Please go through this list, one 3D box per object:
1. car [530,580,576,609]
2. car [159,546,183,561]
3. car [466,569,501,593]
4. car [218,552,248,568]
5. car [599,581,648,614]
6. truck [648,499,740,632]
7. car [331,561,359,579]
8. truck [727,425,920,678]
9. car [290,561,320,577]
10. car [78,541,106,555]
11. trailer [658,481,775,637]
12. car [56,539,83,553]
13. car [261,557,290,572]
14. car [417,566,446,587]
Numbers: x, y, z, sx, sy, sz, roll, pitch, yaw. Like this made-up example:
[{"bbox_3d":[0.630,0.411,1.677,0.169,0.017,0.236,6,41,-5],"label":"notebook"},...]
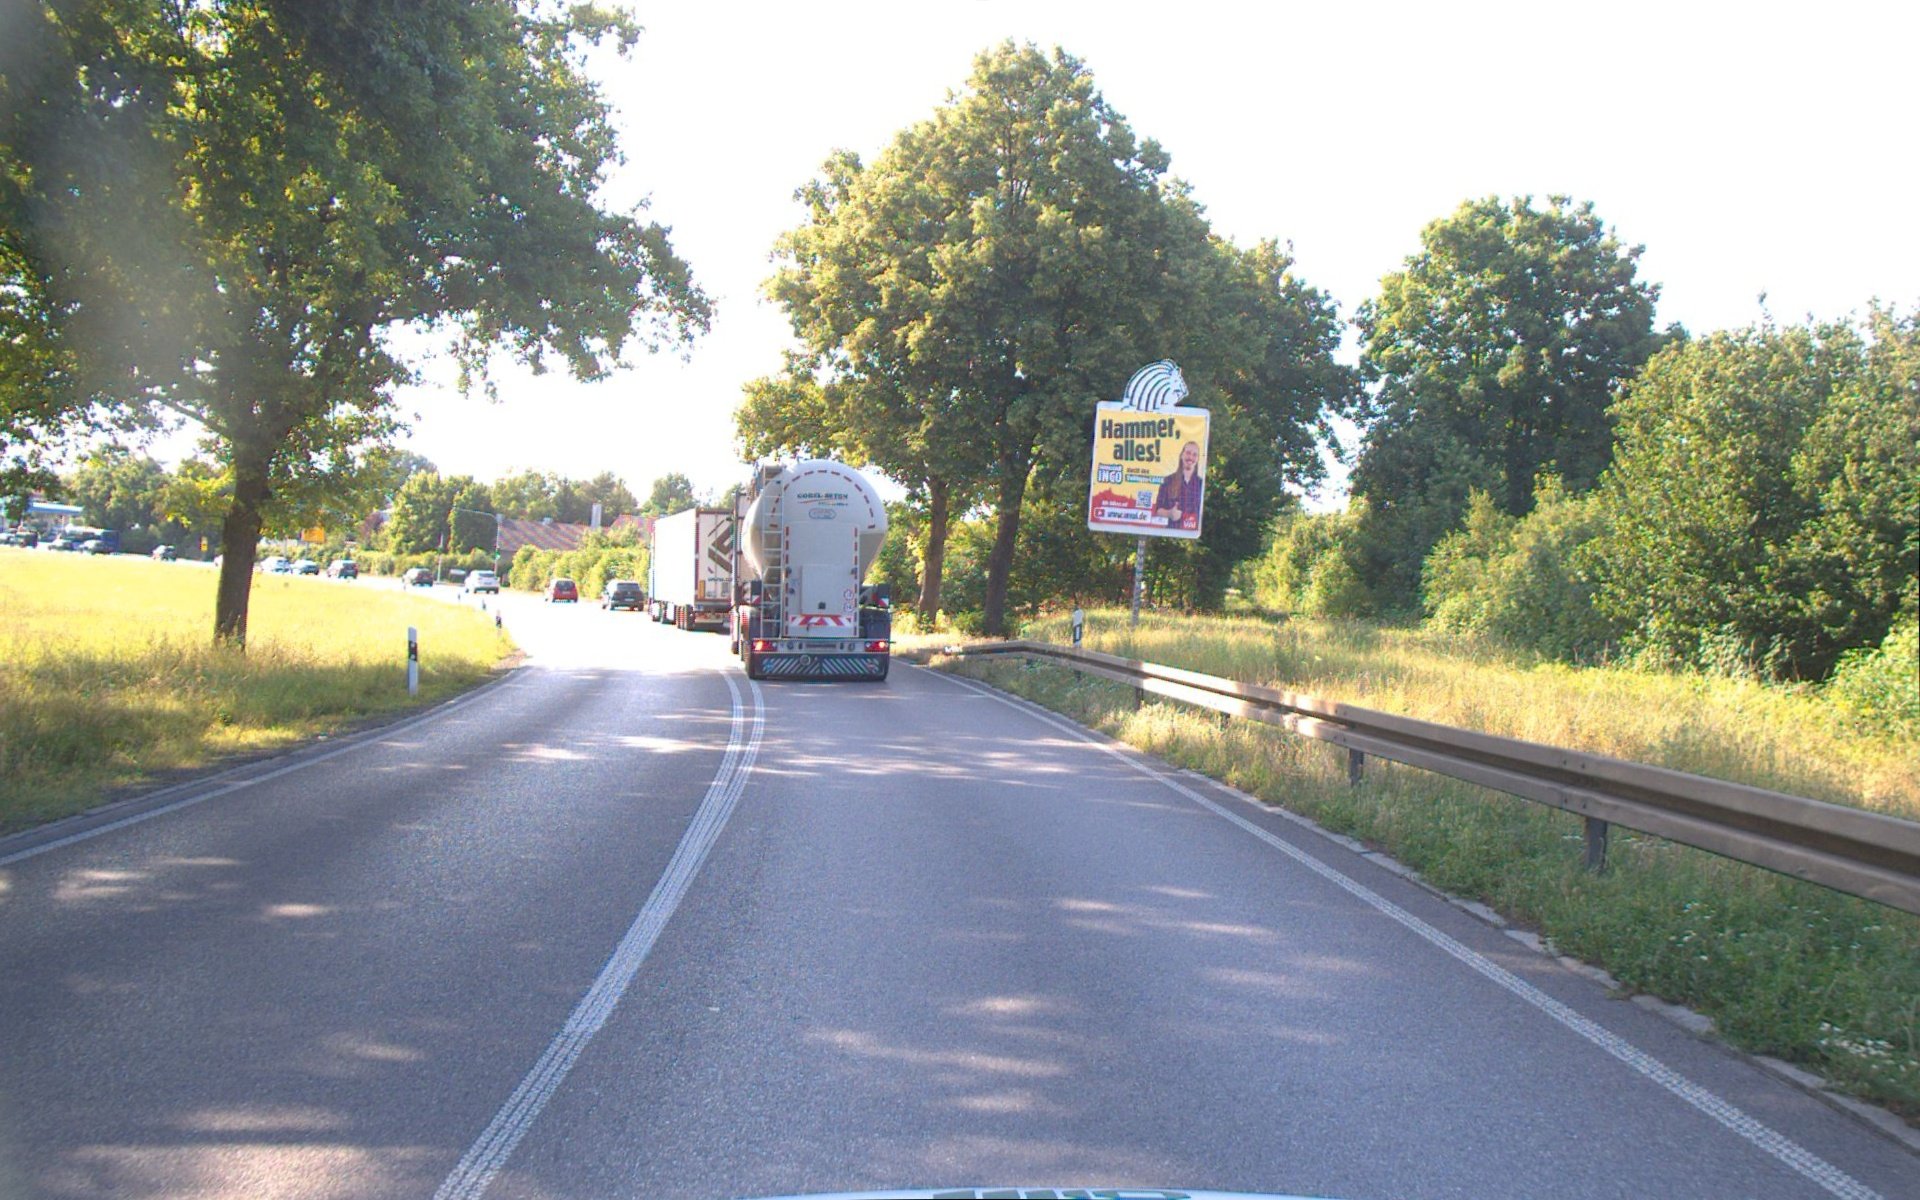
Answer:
[{"bbox_3d":[-25.534,-0.352,103.694,2.266,1.685,4.389,2,0,-20],"label":"car"},{"bbox_3d":[-95.593,-5.596,200.312,1.717,1.685,3.816,2,0,-40],"label":"car"},{"bbox_3d":[-35.841,-1.419,124.370,1.819,1.685,3.965,2,0,-27],"label":"car"},{"bbox_3d":[-81.373,-4.487,185.103,1.965,1.685,3.814,2,0,-41],"label":"car"},{"bbox_3d":[-17.919,-0.146,87.892,1.964,1.685,3.976,2,0,-20],"label":"car"},{"bbox_3d":[-10.649,-1.299,65.707,2.913,4.972,6.405,1,0,-15],"label":"truck"},{"bbox_3d":[-59.585,-2.856,160.225,1.508,1.685,3.822,2,0,-37],"label":"car"},{"bbox_3d":[-3.129,-0.807,34.061,2.921,4.248,11.635,1,0,-10],"label":"truck"},{"bbox_3d":[-66.683,-3.142,168.399,1.669,1.586,3.814,2,0,-41],"label":"car"},{"bbox_3d":[-109.743,-6.560,209.105,3.933,1.627,2.078,3,1,44],"label":"car"},{"bbox_3d":[-8.785,-1.306,58.548,2.915,4.967,10.248,1,0,-14],"label":"trailer"},{"bbox_3d":[-116.437,-7.093,216.225,3.933,1.627,2.078,3,1,44],"label":"car"},{"bbox_3d":[-72.702,-3.752,175.608,1.669,1.586,3.814,2,0,-41],"label":"car"},{"bbox_3d":[-44.943,-1.993,140.561,1.504,1.685,3.832,2,0,-31],"label":"car"}]
